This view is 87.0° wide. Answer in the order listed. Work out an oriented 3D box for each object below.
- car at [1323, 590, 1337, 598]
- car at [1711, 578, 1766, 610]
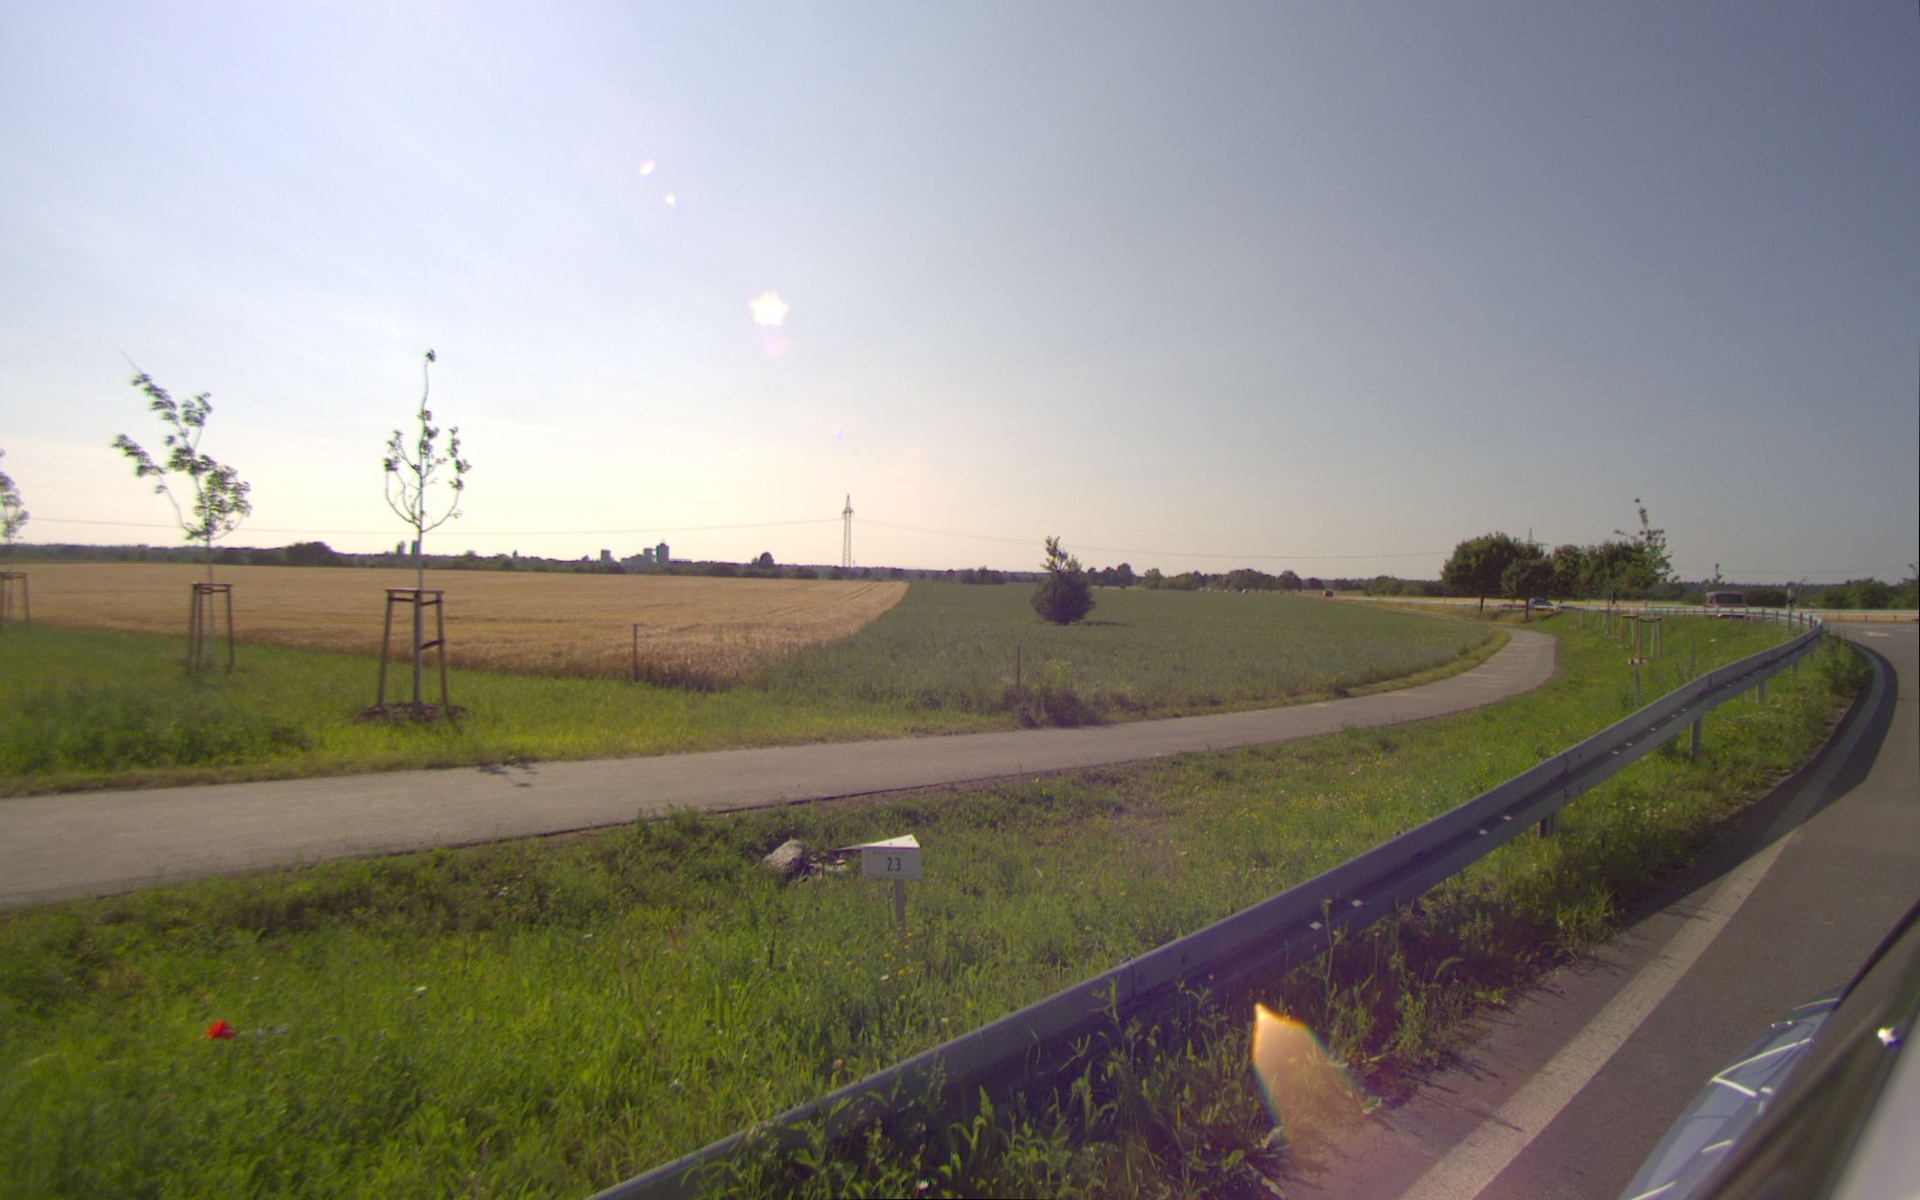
[{"bbox_3d":[85.538,-1.403,233.932,1.780,1.694,4.001,-1,1,-1],"label":"car"},{"bbox_3d":[47.070,-0.371,61.262,1.676,1.860,4.657,1,1,26],"label":"car"}]
